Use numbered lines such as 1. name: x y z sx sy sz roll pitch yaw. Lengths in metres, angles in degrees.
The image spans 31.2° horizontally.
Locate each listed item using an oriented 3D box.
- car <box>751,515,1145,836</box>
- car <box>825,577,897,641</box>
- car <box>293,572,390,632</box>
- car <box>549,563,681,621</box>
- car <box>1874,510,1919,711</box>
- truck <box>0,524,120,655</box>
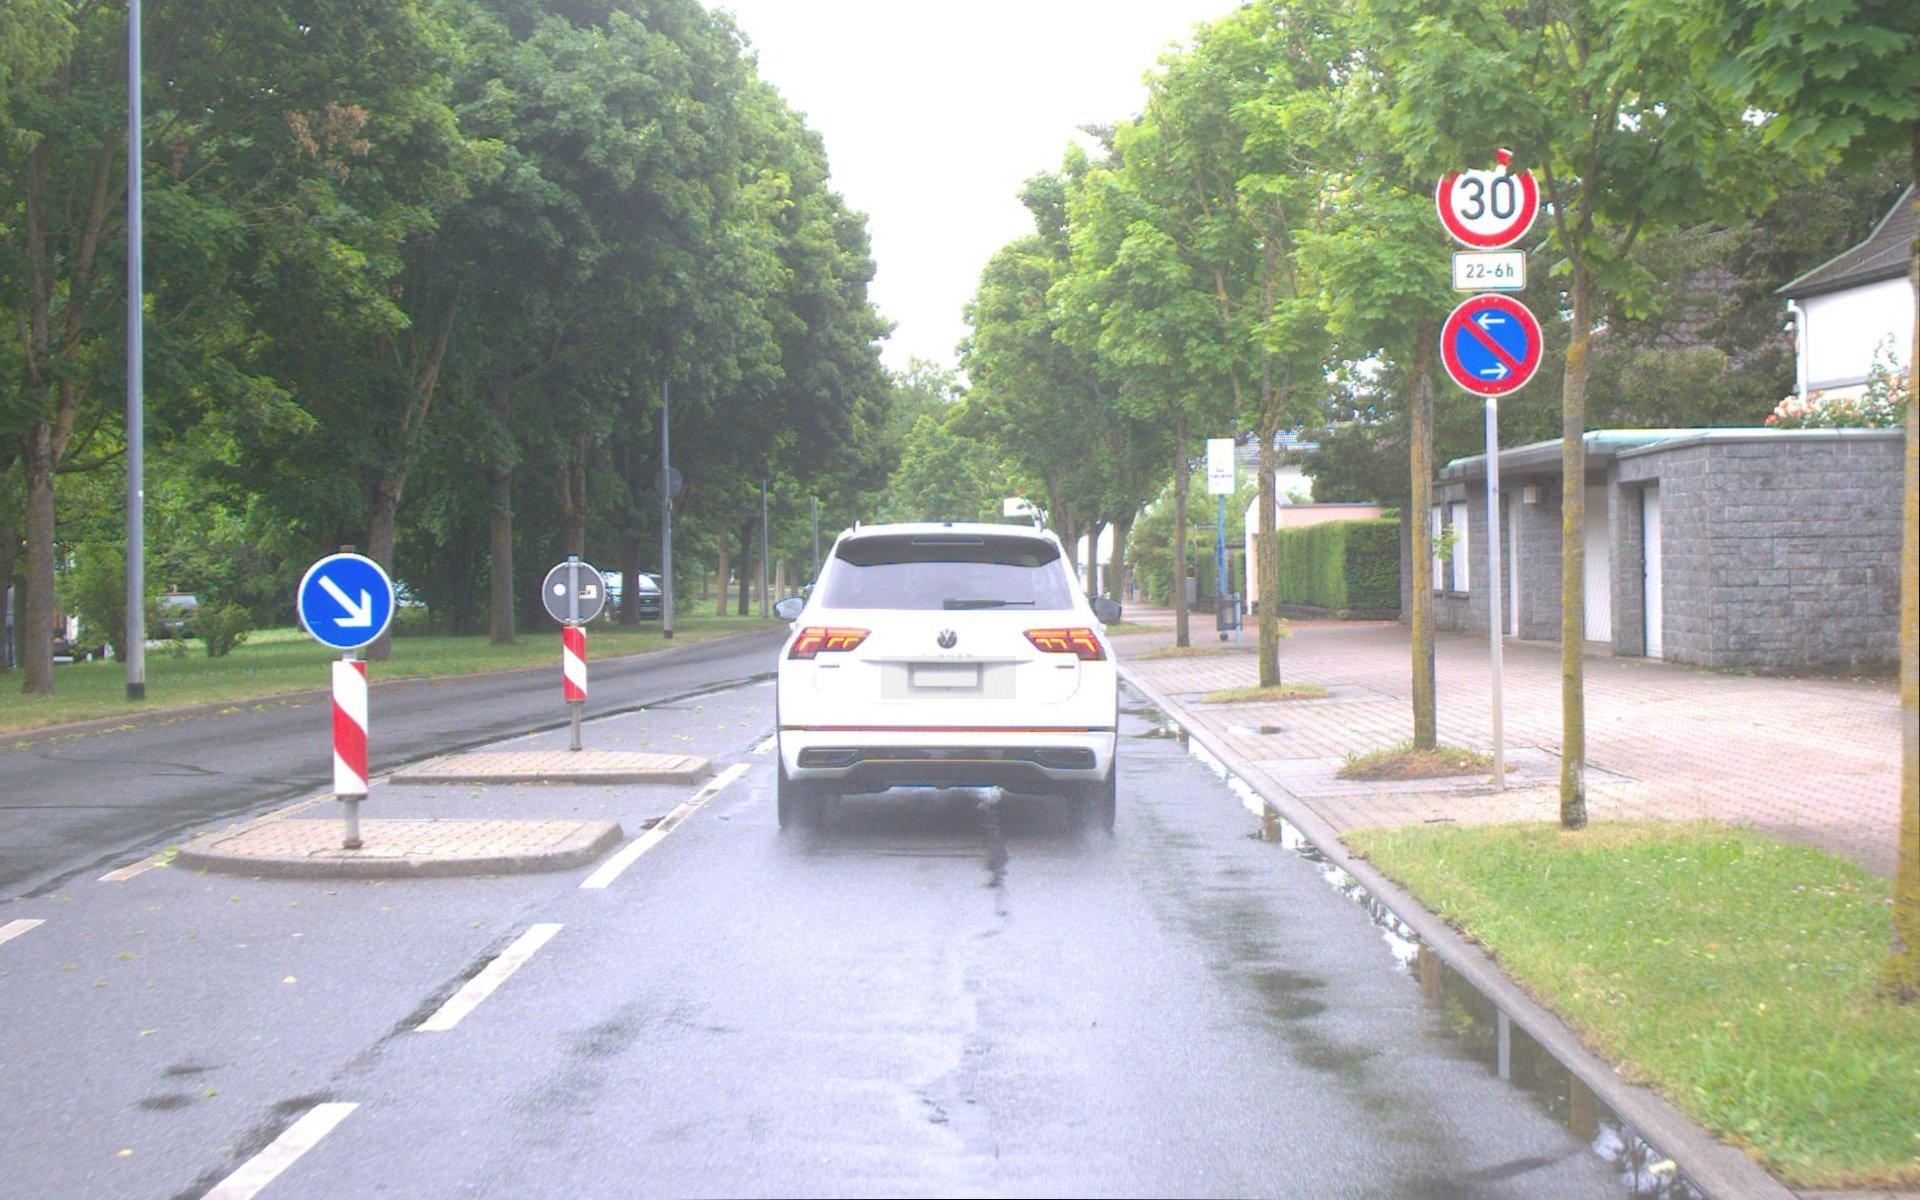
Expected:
1. car: -0.121 0.353 19.427 1.996 1.626 4.000 0 1 -2
2. car: -2.590 0.225 90.771 1.814 1.642 4.000 0 1 0
3. car: -16.098 0.042 89.379 1.841 1.477 4.001 -1 1 -19
4. car: -9.239 -0.200 91.844 1.841 1.477 4.000 -1 1 -34
5. car: 7.953 0.070 24.474 1.771 1.493 4.544 -1 1 2
6. truck: -19.032 -0.218 71.289 2.284 2.588 5.875 -1 0 -6
